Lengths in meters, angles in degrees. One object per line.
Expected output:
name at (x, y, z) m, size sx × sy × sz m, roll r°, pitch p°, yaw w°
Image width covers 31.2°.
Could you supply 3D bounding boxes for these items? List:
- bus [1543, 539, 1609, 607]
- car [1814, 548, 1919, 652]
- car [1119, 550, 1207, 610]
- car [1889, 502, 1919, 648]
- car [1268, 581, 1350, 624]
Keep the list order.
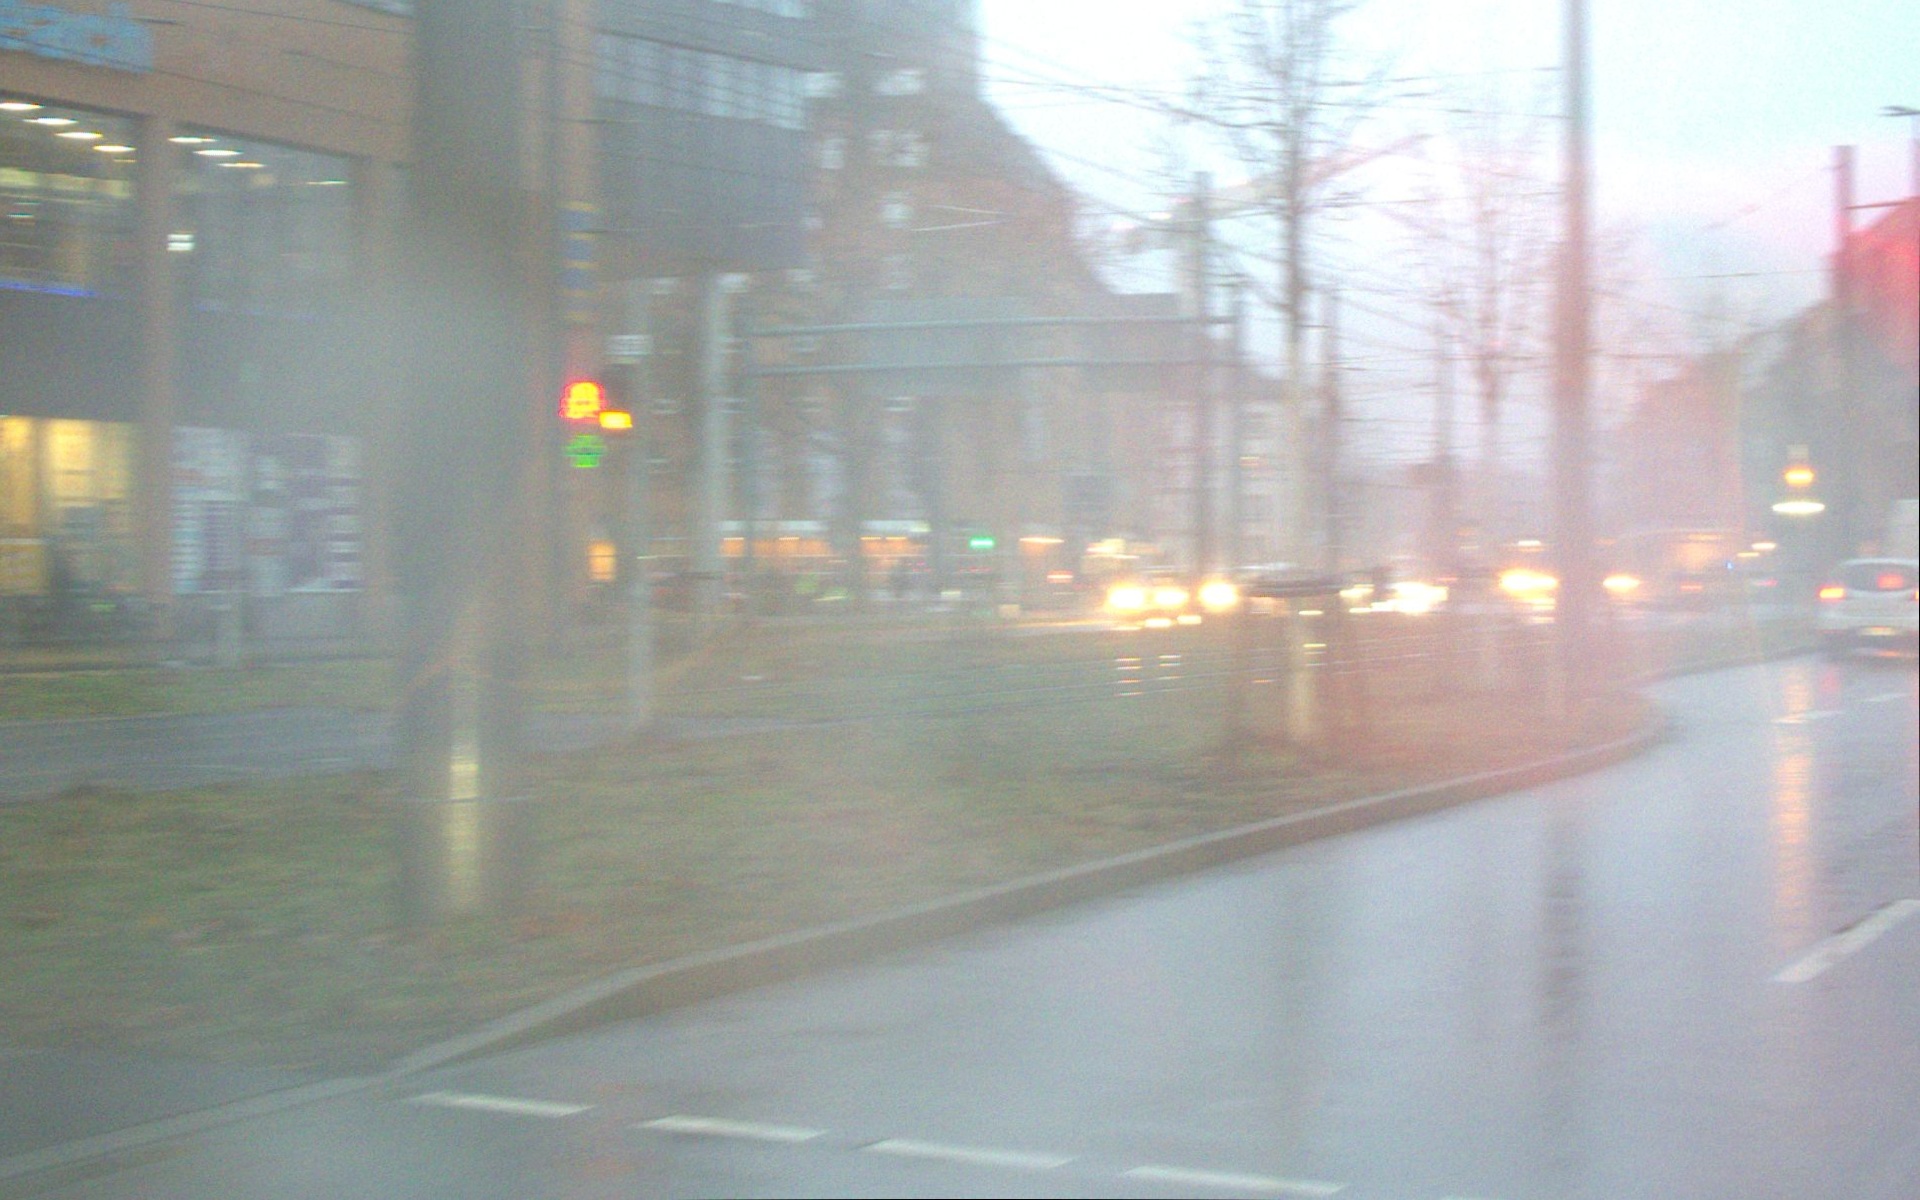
bus at (31.627, -1.395, 176.728) m, size 2.824 × 3.361 × 7.998 m, roll 0°, pitch 0°, yaw 7°
car at (13.860, -0.028, 51.763) m, size 1.640 × 1.491 × 3.682 m, roll 0°, pitch 1°, yaw 19°
car at (4.961, -0.497, 83.730) m, size 1.815 × 1.437 × 3.955 m, roll 0°, pitch 1°, yaw 8°
car at (17.264, -0.440, 59.932) m, size 1.995 × 2.419 × 5.970 m, roll 0°, pitch 1°, yaw 16°
car at (11.603, 0.057, 113.984) m, size 1.731 × 1.388 × 4.195 m, roll 0°, pitch 0°, yaw 20°
